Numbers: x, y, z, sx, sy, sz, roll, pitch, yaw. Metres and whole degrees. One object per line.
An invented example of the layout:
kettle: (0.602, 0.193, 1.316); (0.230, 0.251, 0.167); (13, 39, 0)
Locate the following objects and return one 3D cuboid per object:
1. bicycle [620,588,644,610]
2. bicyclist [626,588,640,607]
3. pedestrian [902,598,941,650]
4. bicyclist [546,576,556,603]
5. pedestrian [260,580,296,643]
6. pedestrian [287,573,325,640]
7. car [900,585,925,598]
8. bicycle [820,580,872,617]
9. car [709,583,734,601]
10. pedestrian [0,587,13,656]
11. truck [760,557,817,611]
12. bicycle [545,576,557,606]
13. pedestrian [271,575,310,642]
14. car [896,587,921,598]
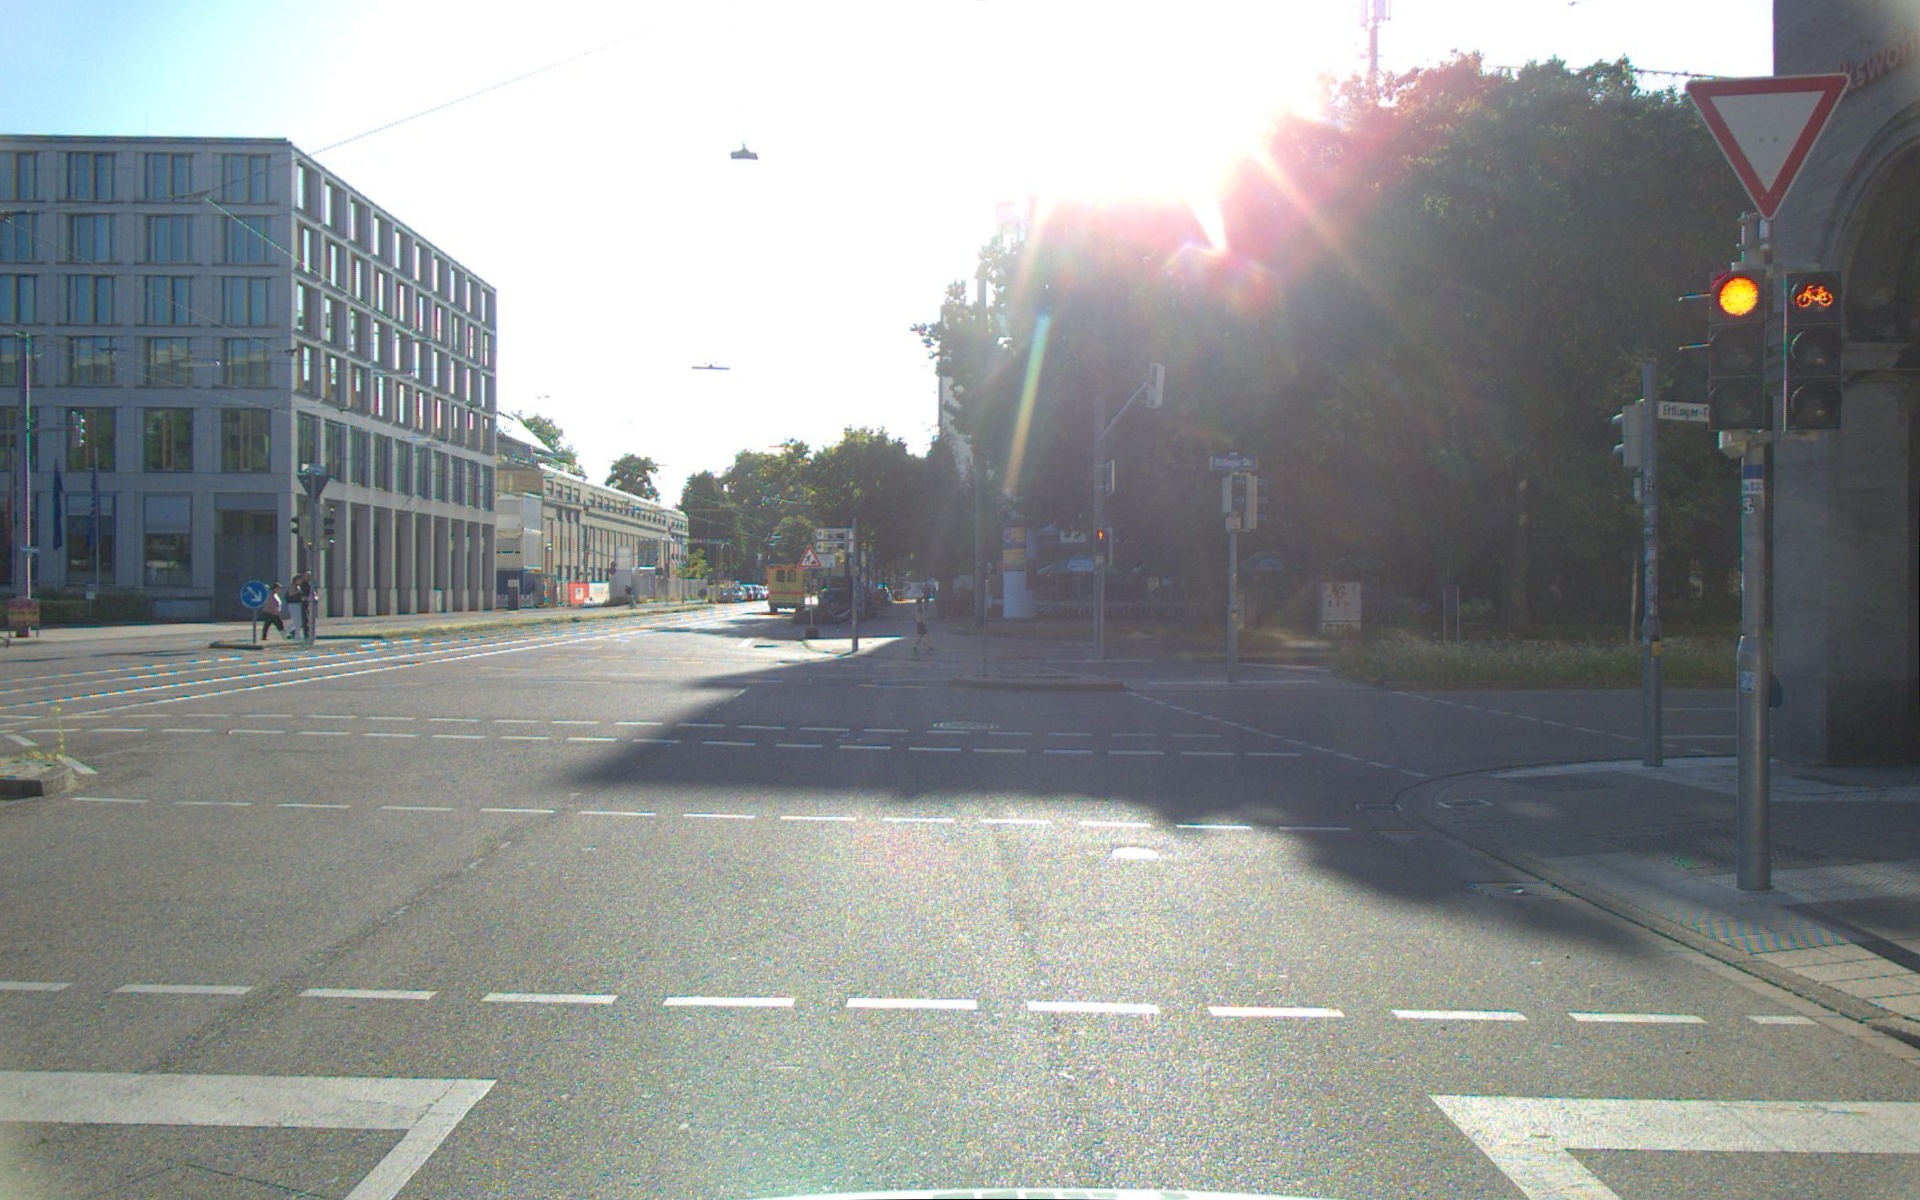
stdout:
bicycle: (-24.128, -0.056, 121.690); (0.675, 1.538, 2.947); (1, 0, 9)
bicyclist: (-24.081, -0.163, 121.761); (0.675, 1.351, 1.001); (1, 0, 9)
pedestrian: (-0.996, 0.615, 43.446); (0.973, 1.340, 0.767); (0, 0, 2)
bicyclist: (-32.066, -0.823, 129.660); (0.559, 2.059, 0.761); (0, 0, -2)
pedestrian: (-18.147, 0.303, 44.026); (0.680, 1.673, 0.621); (0, 0, 0)
pedestrian: (-17.636, 0.167, 44.611); (0.732, 1.792, 0.678); (-1, -1, 4)
car: (-6.099, -1.090, 213.329); (3.152, 1.616, 1.445); (1, 0, -5)
bicycle: (-5.599, -0.055, 81.281); (2.495, 1.774, 1.037); (1, 0, -1)
car: (-22.487, -0.728, 156.032); (1.856, 1.635, 4.498); (0, 0, -3)
pedestrian: (-25.753, 0.569, 43.949); (0.851, 1.835, 0.532); (0, 0, 4)
truck: (-10.192, -0.938, 98.978); (2.660, 3.068, 6.490); (0, 0, 1)
bicycle: (-32.063, -0.683, 129.665); (0.559, 2.336, 1.422); (0, 0, -2)
pedestrian: (-16.967, 0.212, 41.926); (0.777, 1.673, 0.620); (0, 0, -5)
car: (-6.518, -0.960, 211.122); (3.153, 1.285, 1.372); (1, 0, -2)
